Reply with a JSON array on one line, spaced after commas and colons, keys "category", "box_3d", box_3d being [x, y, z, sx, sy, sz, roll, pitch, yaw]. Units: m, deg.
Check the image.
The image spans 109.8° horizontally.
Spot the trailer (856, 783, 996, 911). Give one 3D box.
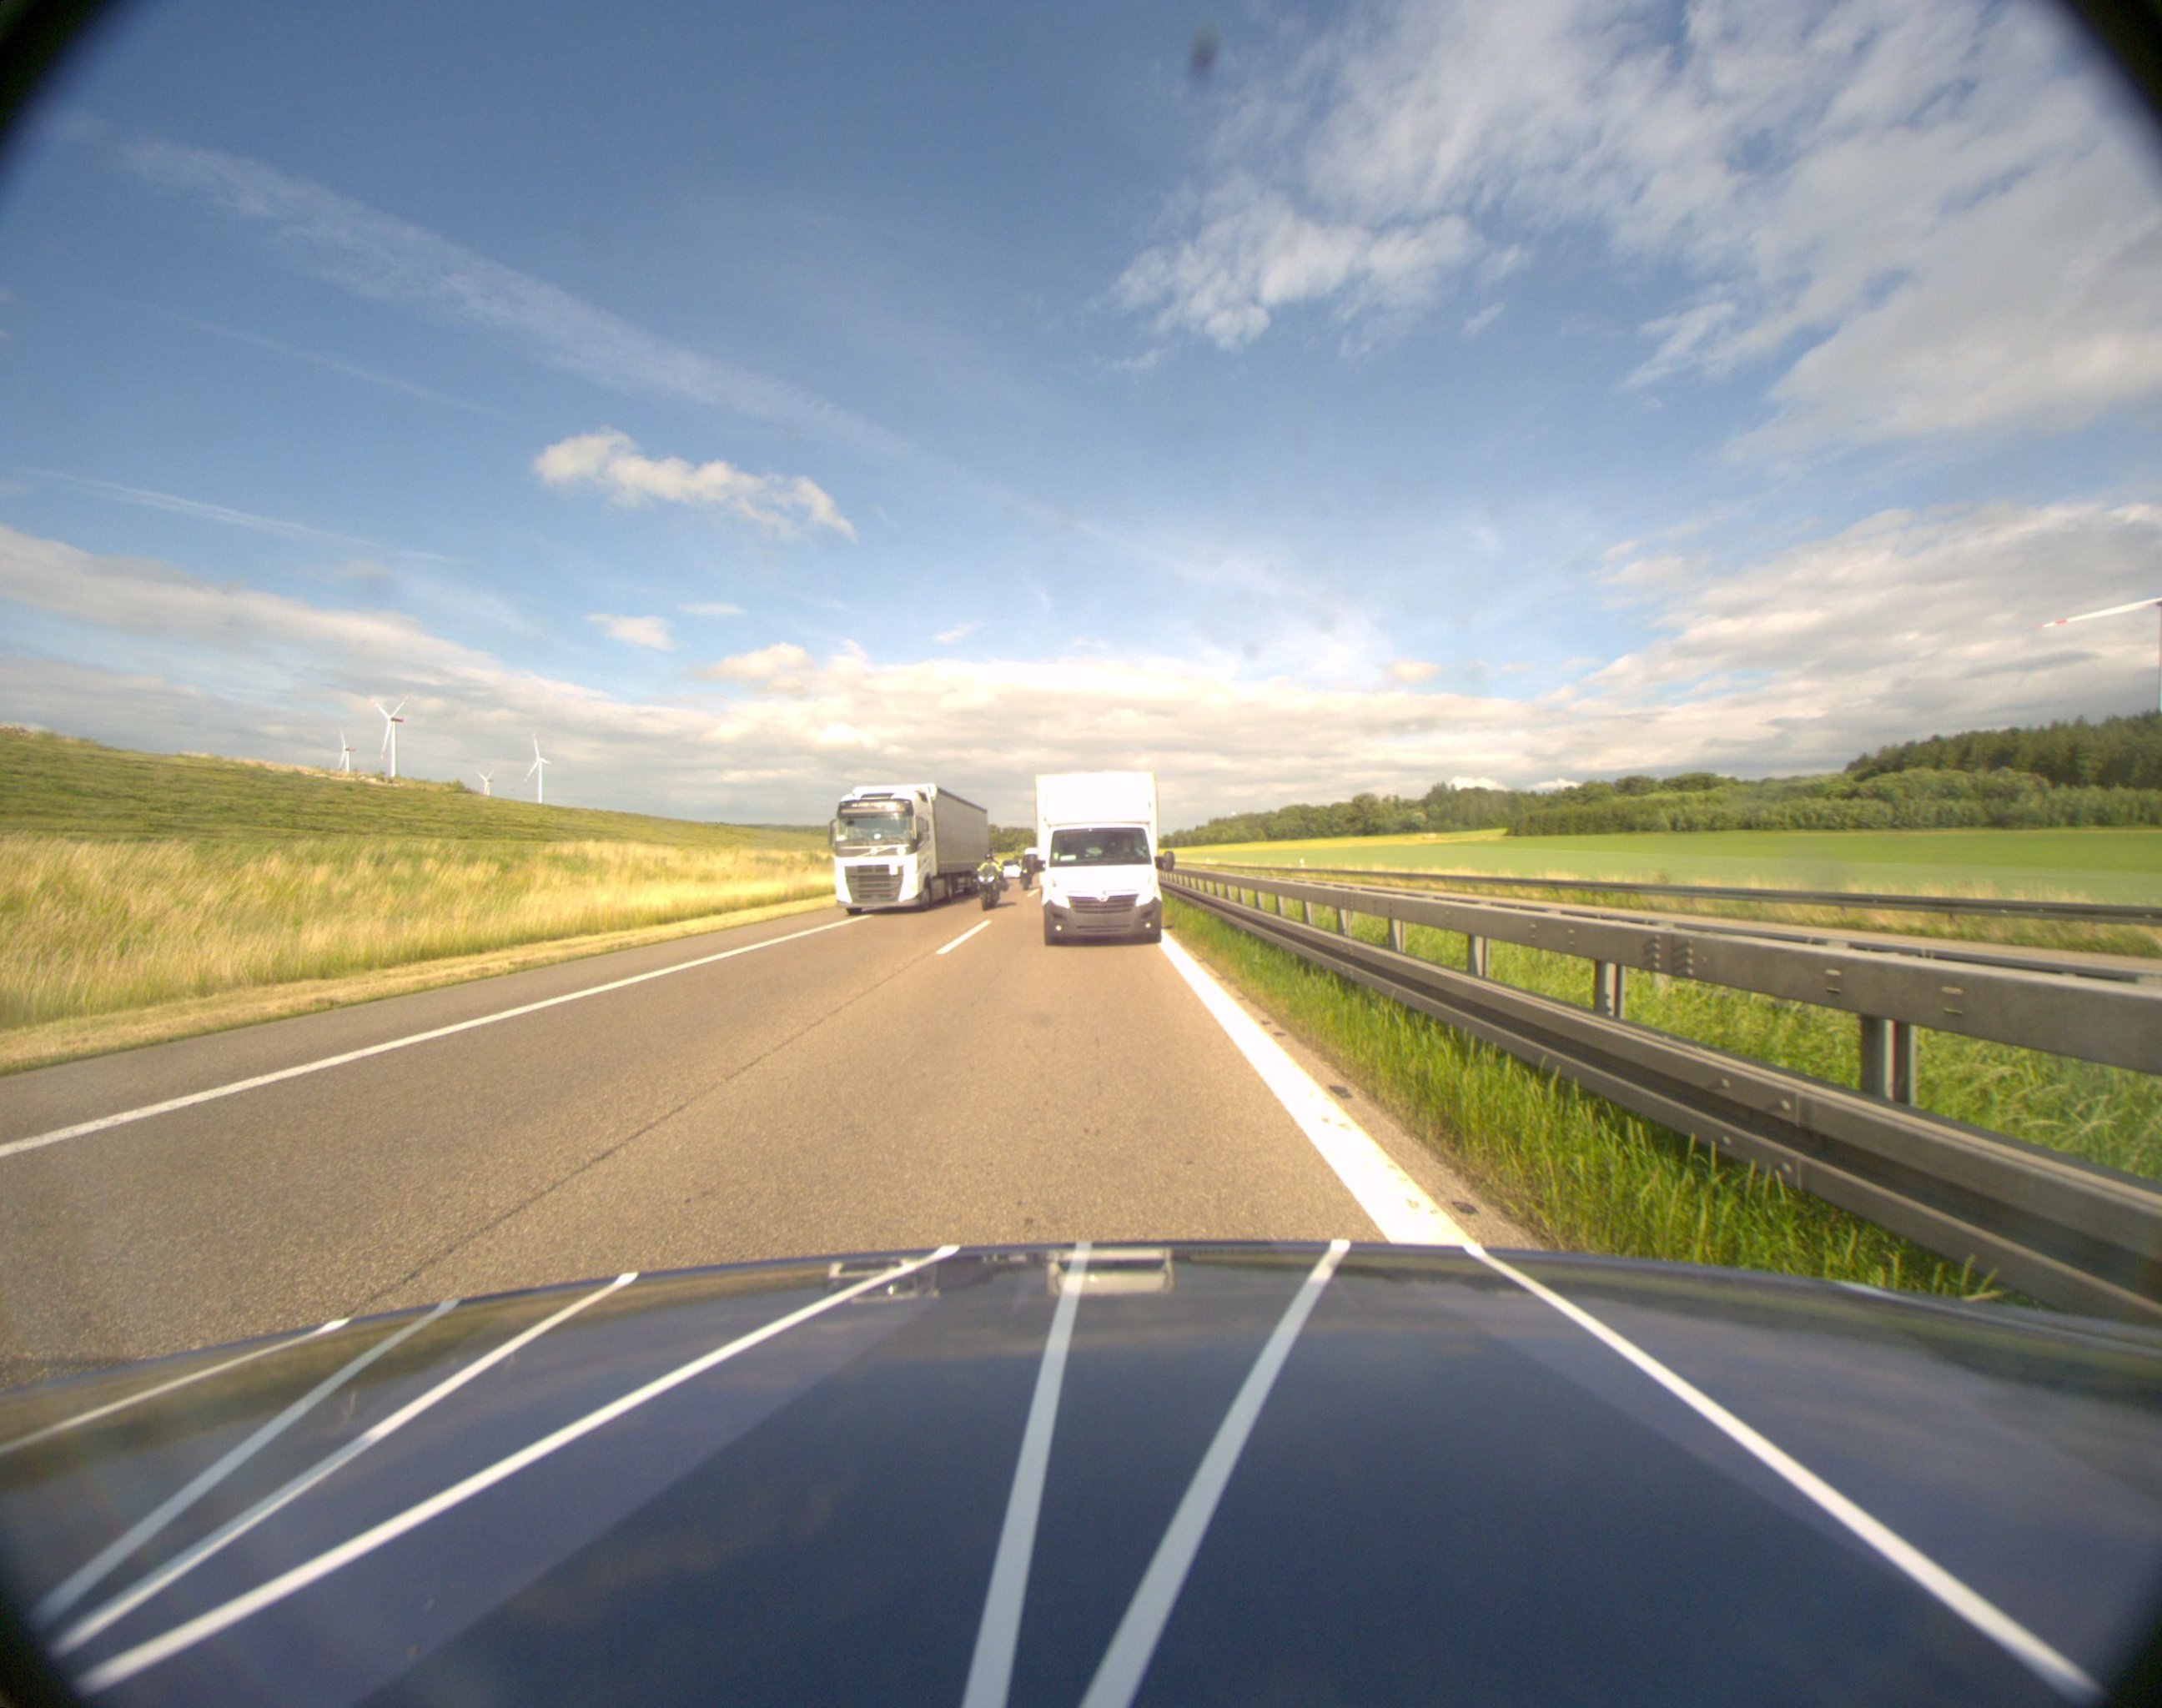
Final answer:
[{"category": "trailer", "box_3d": [-5.722, -0.222, 31.139, 2.623, 4.017, 13.698, -2, 0, 1]}]

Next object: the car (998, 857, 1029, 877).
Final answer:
[{"category": "car", "box_3d": [-5.136, 0.959, 58.109, 1.871, 1.409, 4.461, -1, 1, 1]}]

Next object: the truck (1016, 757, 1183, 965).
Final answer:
[{"category": "truck", "box_3d": [0.270, 0.124, 17.271, 2.502, 3.141, 11.163, -1, 0, 0]}]

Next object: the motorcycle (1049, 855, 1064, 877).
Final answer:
[{"category": "motorcycle", "box_3d": [-1.645, 0.784, 51.503, 0.898, 1.447, 2.269, -1, 1, 0]}]

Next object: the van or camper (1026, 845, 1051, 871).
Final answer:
[{"category": "van or camper", "box_3d": [-4.372, 0.368, 79.433, 2.102, 2.530, 6.412, -1, 1, 1]}]

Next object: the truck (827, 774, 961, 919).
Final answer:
[{"category": "truck", "box_3d": [-5.778, -0.215, 24.540, 2.607, 4.017, 6.119, -2, 0, 1]}]

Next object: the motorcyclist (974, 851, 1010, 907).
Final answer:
[{"category": "motorcyclist", "box_3d": [-2.670, 0.740, 22.941, 0.898, 1.608, 1.022, -1, 1, 0]}]

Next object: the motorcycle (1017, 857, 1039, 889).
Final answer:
[{"category": "motorcycle", "box_3d": [-2.501, 0.896, 36.105, 0.898, 1.447, 1.982, -1, 1, 0]}]

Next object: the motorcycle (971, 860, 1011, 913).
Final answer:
[{"category": "motorcycle", "box_3d": [-2.684, 0.949, 22.925, 0.898, 1.447, 2.269, -1, 1, 0]}]

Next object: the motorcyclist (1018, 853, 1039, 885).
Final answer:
[{"category": "motorcyclist", "box_3d": [-2.495, 0.704, 36.215, 0.898, 1.447, 0.892, -1, 1, 0]}]
